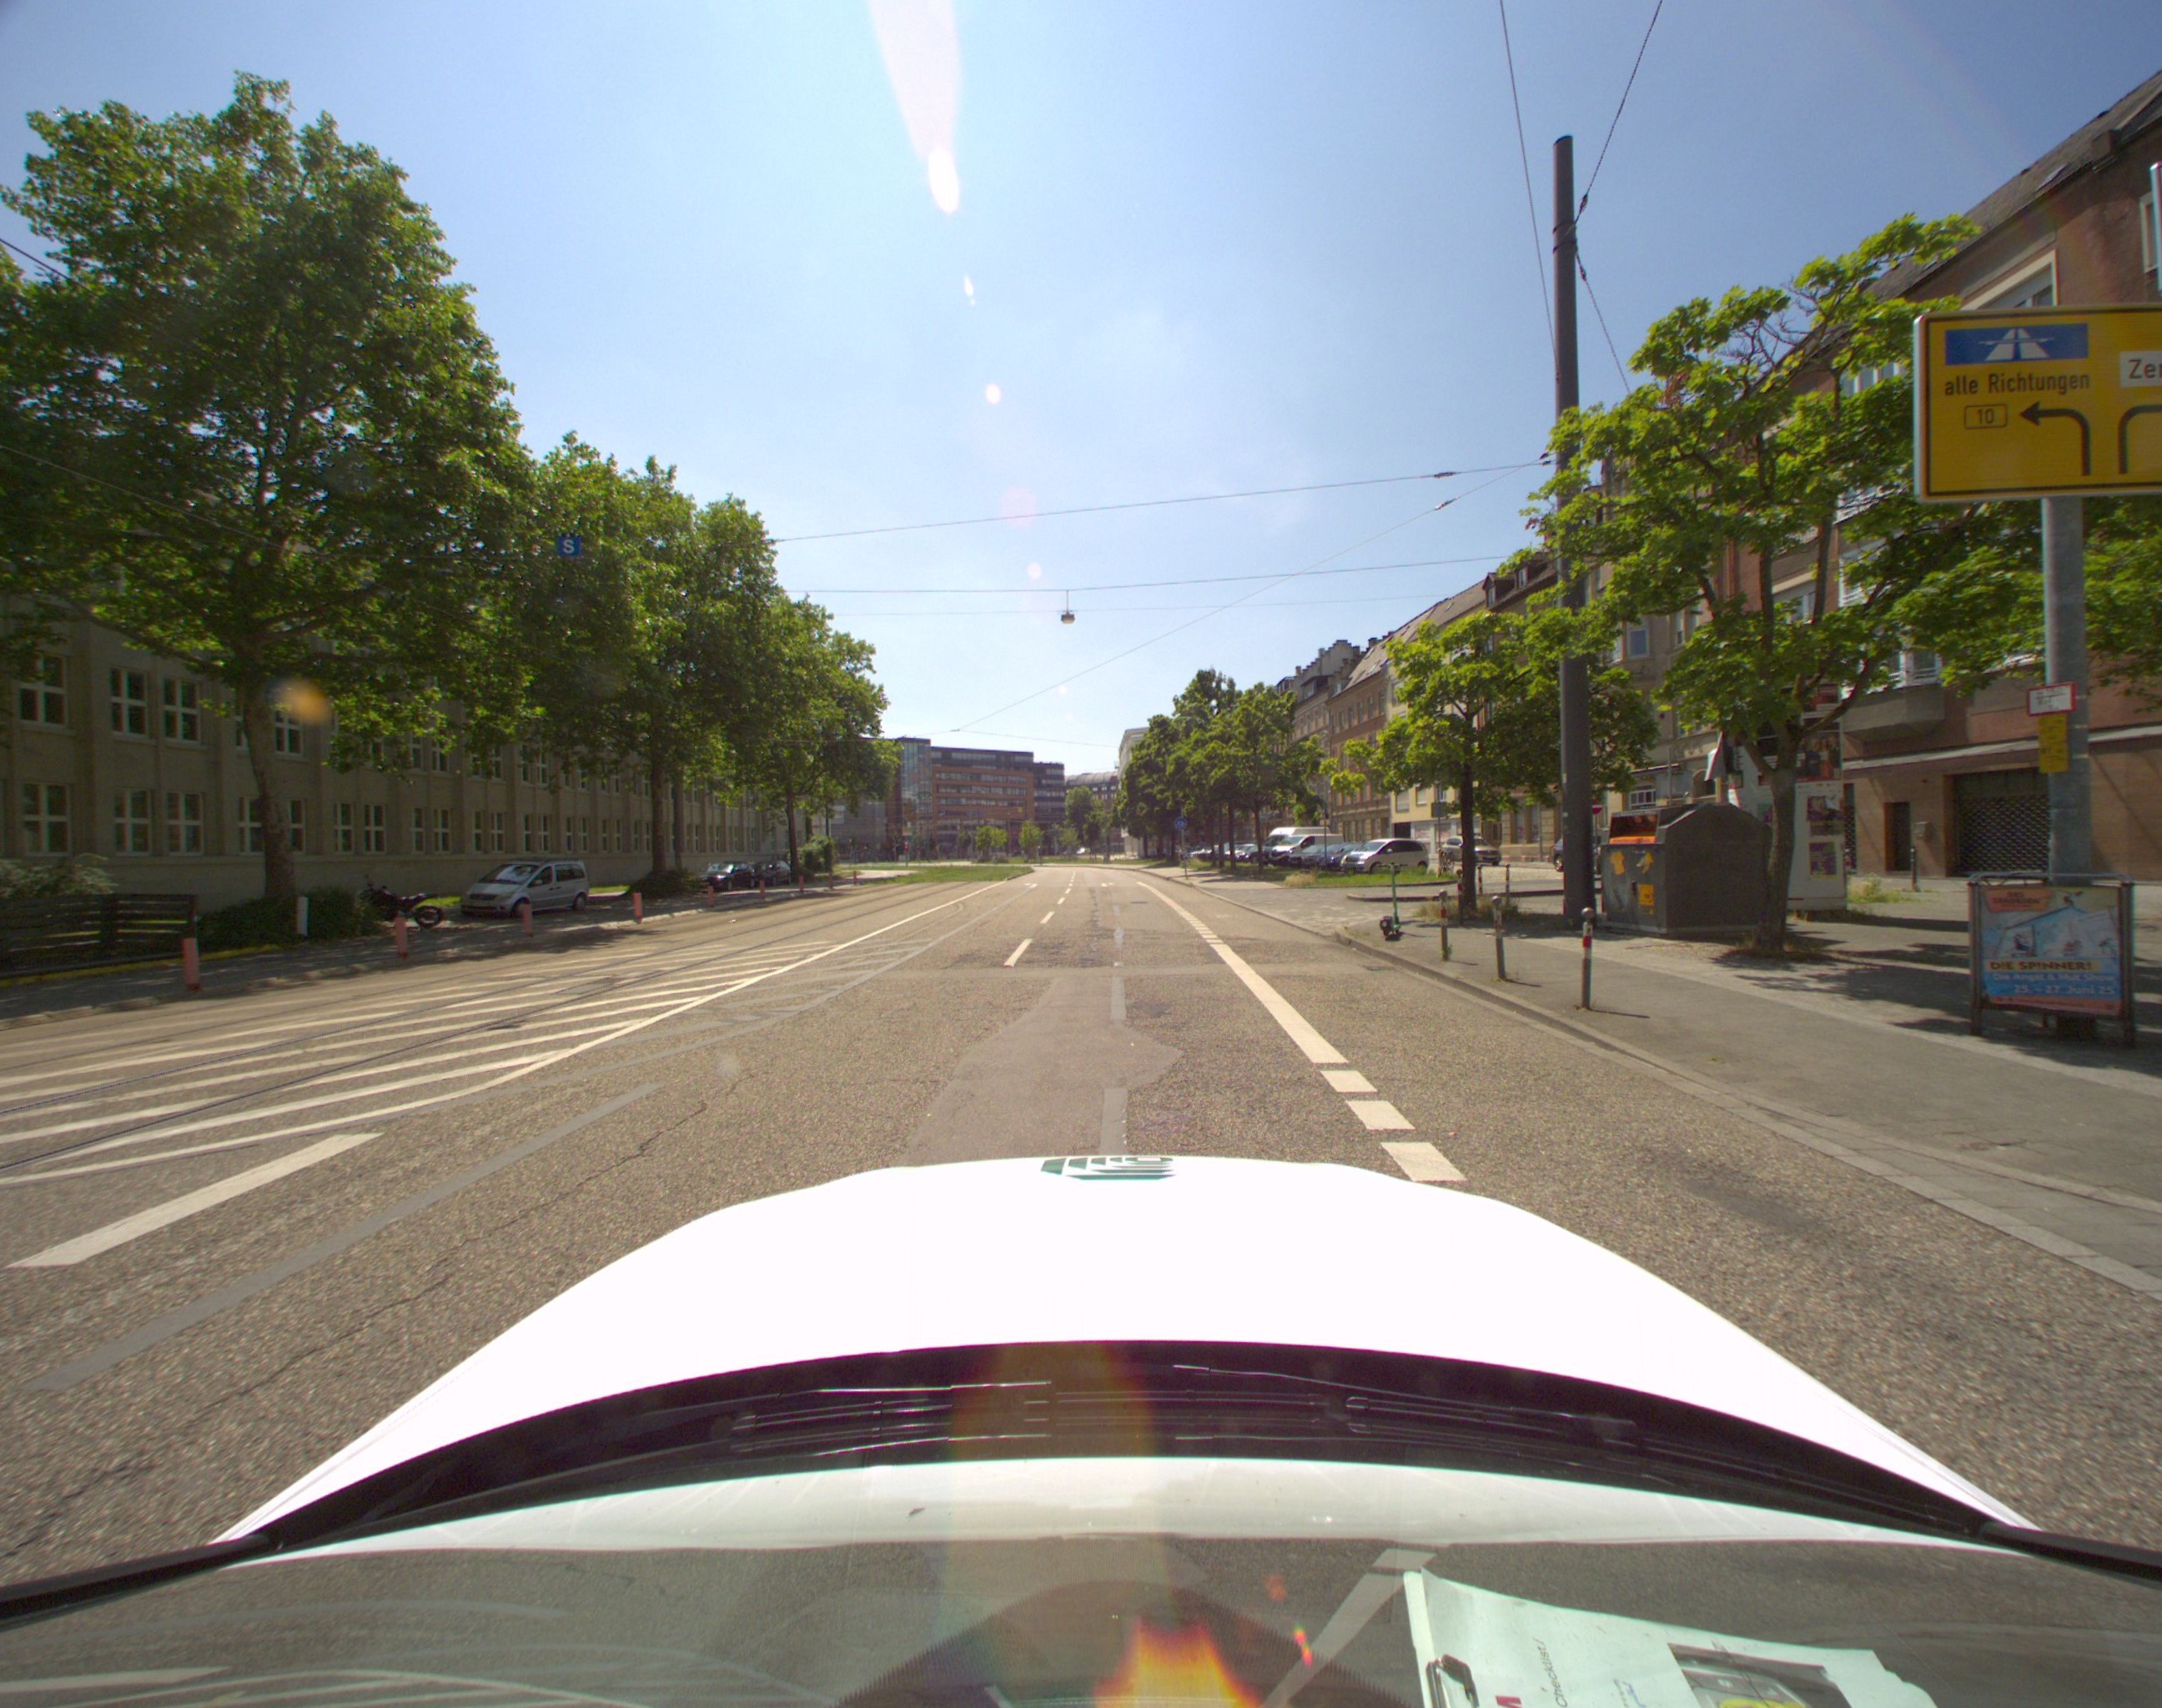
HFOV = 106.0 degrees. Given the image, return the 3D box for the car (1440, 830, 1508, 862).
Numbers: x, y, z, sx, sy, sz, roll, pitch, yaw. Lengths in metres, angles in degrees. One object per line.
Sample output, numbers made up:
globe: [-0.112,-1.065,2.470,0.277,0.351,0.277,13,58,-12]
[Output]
car: [21.712,-0.441,45.171,1.814,1.684,3.998,0,0,-1]

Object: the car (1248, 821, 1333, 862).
car: [13.269,-0.747,51.315,5.577,2.460,2.213,-1,0,-37]

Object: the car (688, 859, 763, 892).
car: [-17.682,1.041,40.728,1.757,1.483,4.323,0,0,0]

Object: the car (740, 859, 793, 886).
car: [-17.799,1.023,46.260,1.584,1.424,4.317,0,0,-4]

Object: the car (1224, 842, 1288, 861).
car: [12.725,-0.194,59.111,4.448,1.338,1.952,-1,0,-33]

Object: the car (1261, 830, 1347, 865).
car: [13.112,-0.399,47.798,4.862,1.973,2.057,0,0,-30]

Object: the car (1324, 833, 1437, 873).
car: [12.853,-0.049,34.984,4.416,1.632,1.985,0,0,-23]

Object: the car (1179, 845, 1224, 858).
car: [12.138,-0.242,81.943,4.003,1.313,1.958,0,0,-22]

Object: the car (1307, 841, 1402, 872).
car: [12.744,0.109,37.964,4.002,1.399,1.811,0,0,-22]

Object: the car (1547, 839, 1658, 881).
car: [20.992,0.217,33.010,1.983,1.600,4.608,0,0,7]

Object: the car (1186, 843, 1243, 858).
car: [12.185,-0.302,74.300,4.791,1.313,2.134,0,0,-22]

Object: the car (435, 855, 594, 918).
car: [-18.042,0.959,26.229,1.986,1.811,4.302,0,0,2]

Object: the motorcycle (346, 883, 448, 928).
motorcycle: [-17.957,1.356,21.451,1.878,1.068,0.720,5,-3,-31]

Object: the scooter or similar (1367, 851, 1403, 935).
scooter or similar: [4.899,0.602,13.096,0.387,1.214,1.186,-5,1,24]

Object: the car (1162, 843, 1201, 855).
car: [13.187,-0.670,106.503,4.886,1.601,1.820,0,0,-28]

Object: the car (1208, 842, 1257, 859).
car: [12.822,-0.339,69.048,4.015,1.400,1.695,-1,0,-33]

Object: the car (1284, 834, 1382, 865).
car: [12.785,-0.242,41.250,4.640,1.497,1.949,0,0,-25]

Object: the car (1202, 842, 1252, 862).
car: [12.946,-0.183,72.132,4.008,1.662,1.955,0,0,-27]

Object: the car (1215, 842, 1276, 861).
car: [12.647,-0.218,62.577,4.714,1.427,1.950,-1,0,-37]

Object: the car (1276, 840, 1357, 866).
car: [12.836,-0.059,44.362,4.002,1.387,1.811,0,0,-22]

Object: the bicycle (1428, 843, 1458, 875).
bicycle: [13.944,0.172,31.351,0.731,1.193,2.375,0,0,31]
